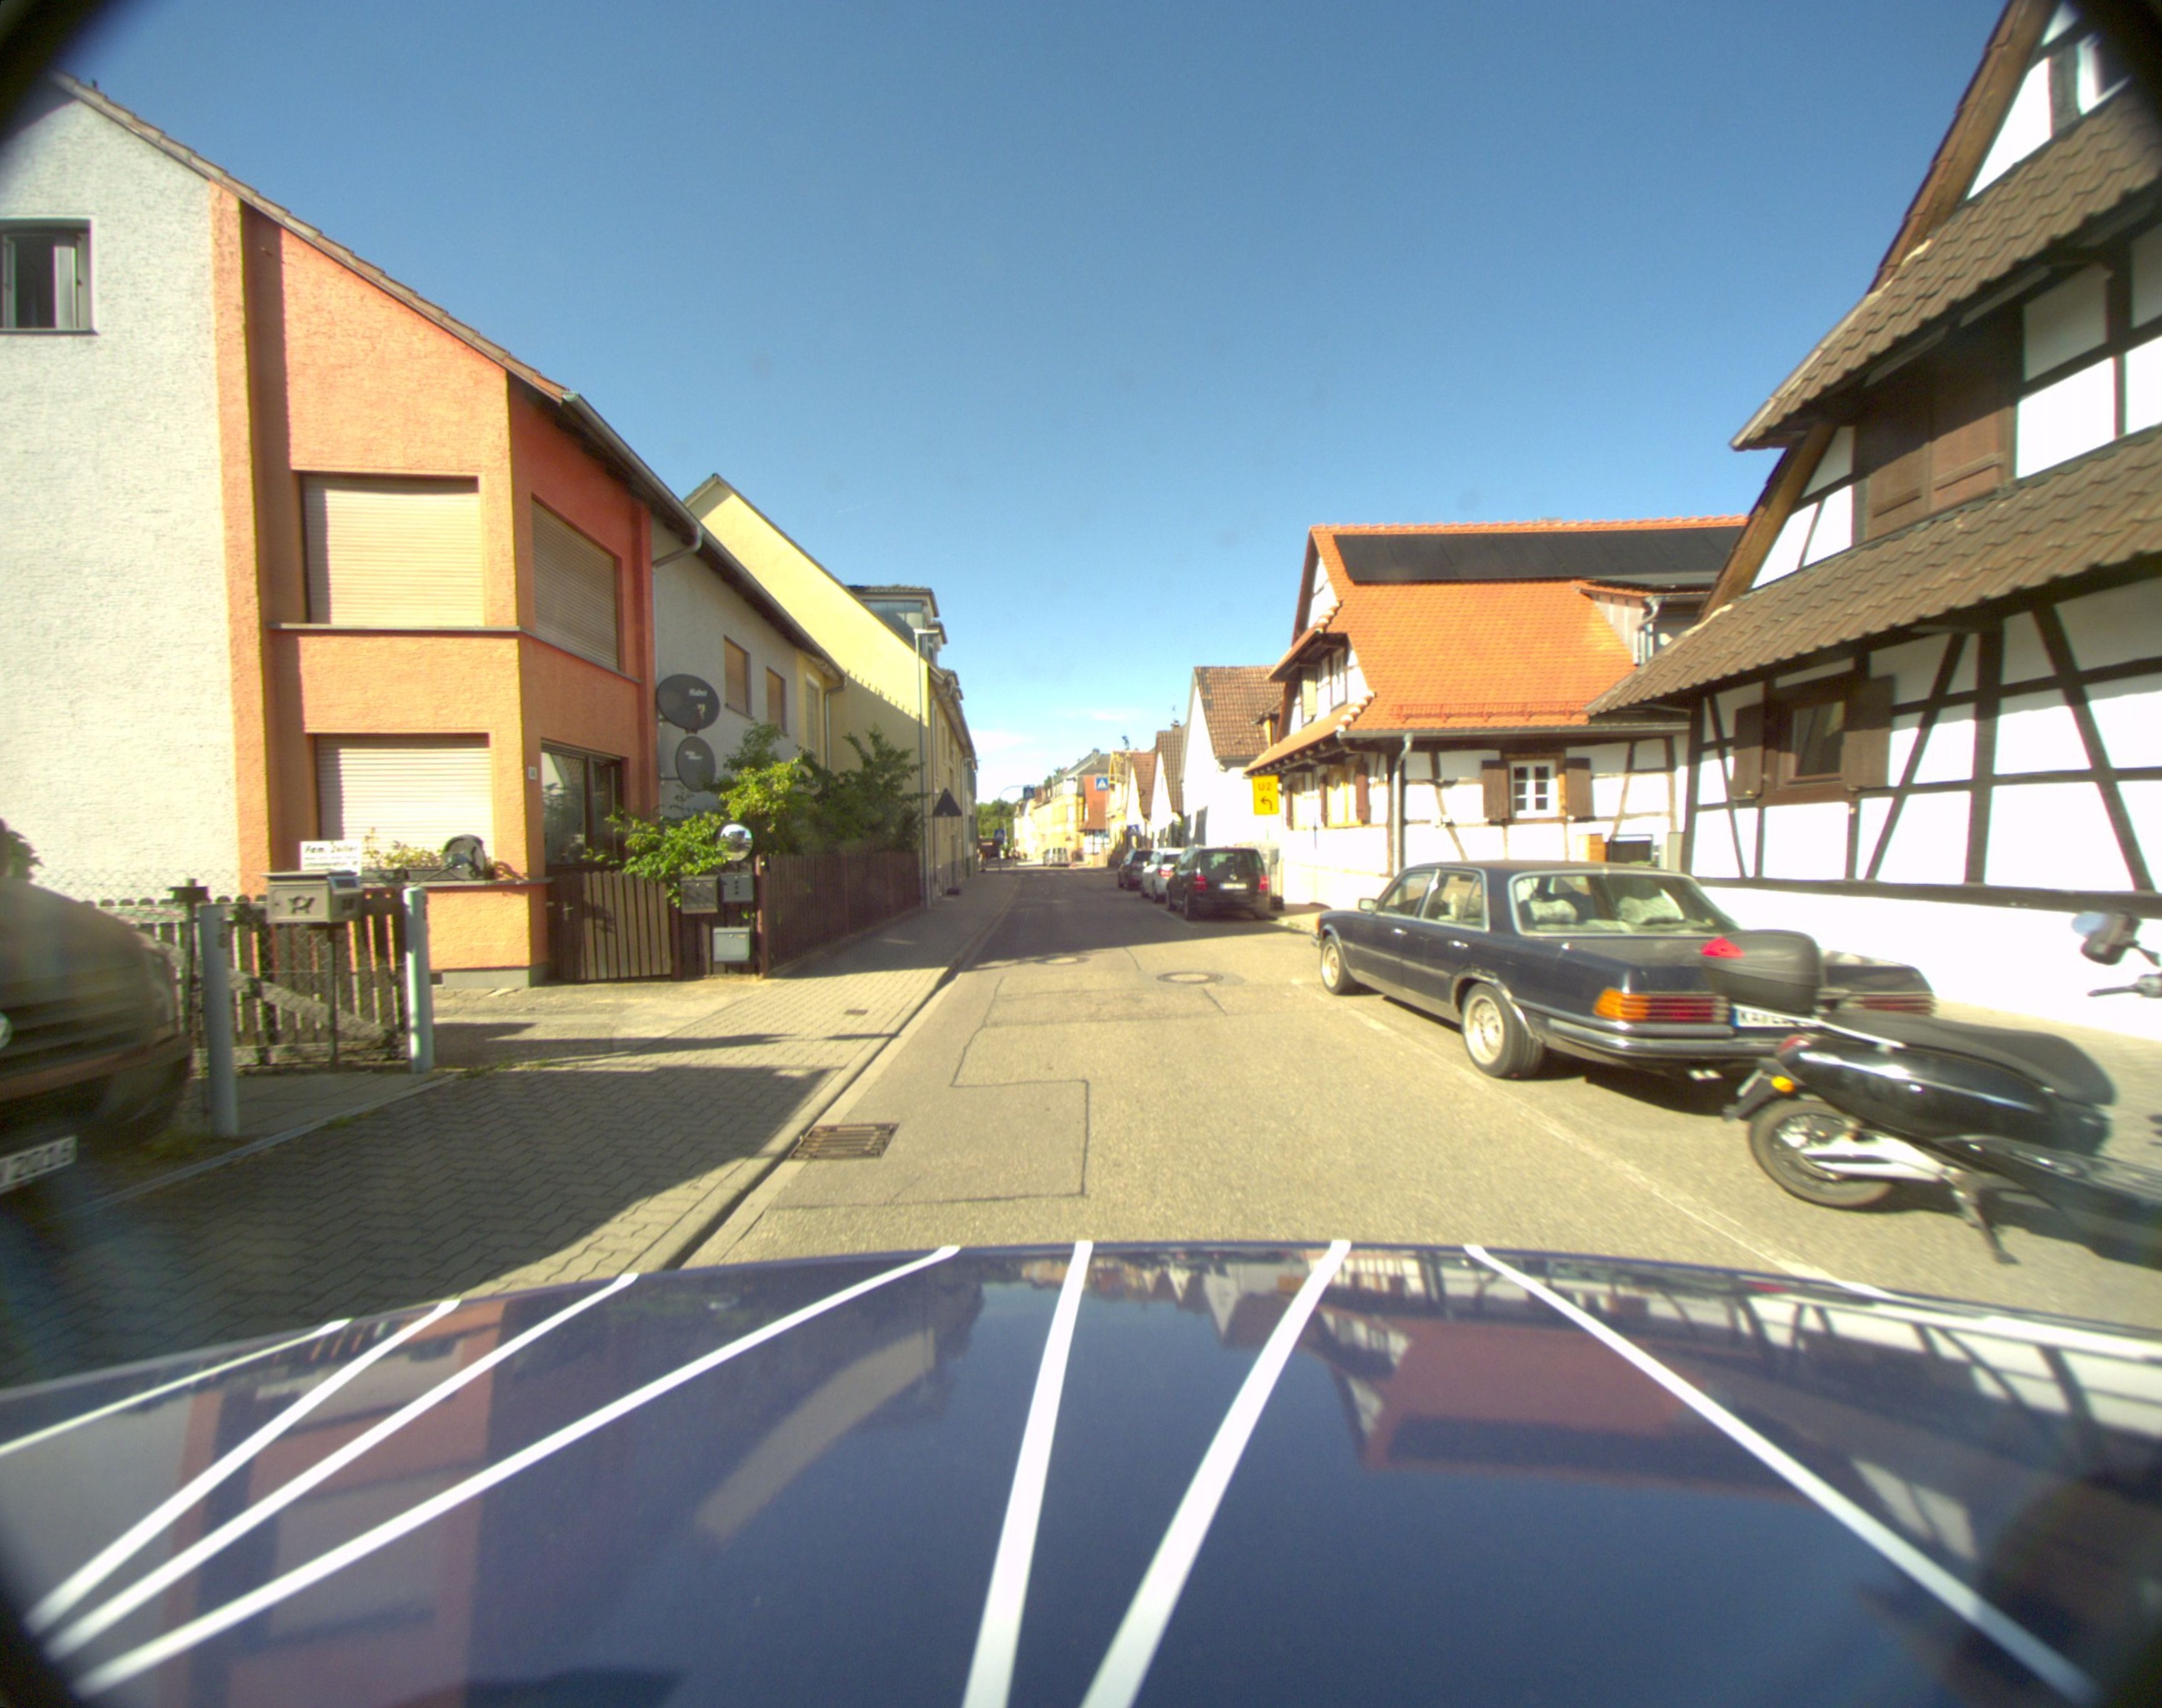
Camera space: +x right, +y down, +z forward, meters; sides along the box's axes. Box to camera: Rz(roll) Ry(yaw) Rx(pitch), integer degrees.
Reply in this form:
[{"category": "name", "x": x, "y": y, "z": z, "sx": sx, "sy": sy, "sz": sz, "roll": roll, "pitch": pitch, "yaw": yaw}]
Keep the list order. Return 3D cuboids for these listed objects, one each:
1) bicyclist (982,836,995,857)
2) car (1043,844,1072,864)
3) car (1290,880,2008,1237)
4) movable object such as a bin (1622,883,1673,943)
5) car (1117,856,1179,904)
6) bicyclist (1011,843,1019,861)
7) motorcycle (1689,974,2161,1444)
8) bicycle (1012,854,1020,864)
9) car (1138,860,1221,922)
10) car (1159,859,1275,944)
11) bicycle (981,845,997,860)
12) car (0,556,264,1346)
[{"category": "bicyclist", "x": -10.349, "y": -0.849, "z": 84.958, "sx": 1.258, "sy": 2.295, "sz": 1.241, "roll": -4, "pitch": 2, "yaw": -13}, {"category": "car", "x": -2.311, "y": -0.023, "z": 73.091, "sx": 1.882, "sy": 1.870, "sz": 4.829, "roll": 0, "pitch": 1, "yaw": -12}, {"category": "car", "x": 3.355, "y": 1.039, "z": 6.069, "sx": 1.849, "sy": 1.398, "sz": 5.034, "roll": 0, "pitch": 1, "yaw": -2}, {"category": "movable object such as a bin", "x": 9.520, "y": 0.985, "z": 12.780, "sx": 0.472, "sy": 0.938, "sz": 0.524, "roll": -2, "pitch": 2, "yaw": 2}, {"category": "car", "x": 2.525, "y": 0.952, "z": 29.557, "sx": 1.747, "sy": 1.605, "sz": 3.997, "roll": -1, "pitch": 1, "yaw": -4}, {"category": "bicyclist", "x": -5.943, "y": -0.202, "z": 68.568, "sx": 0.610, "sy": 1.525, "sz": 0.654, "roll": -4, "pitch": 2, "yaw": -8}, {"category": "motorcycle", "x": 3.367, "y": 1.158, "z": 2.582, "sx": 1.989, "sy": 1.224, "sz": 0.628, "roll": 0, "pitch": 1, "yaw": 43}, {"category": "bicycle", "x": -5.882, "y": 0.455, "z": 68.497, "sx": 0.624, "sy": 0.774, "sz": 1.911, "roll": -4, "pitch": 2, "yaw": -7}, {"category": "car", "x": 2.833, "y": 1.031, "z": 22.808, "sx": 1.821, "sy": 1.558, "sz": 4.166, "roll": -1, "pitch": 1, "yaw": -2}, {"category": "car", "x": 2.987, "y": 0.978, "z": 17.633, "sx": 1.788, "sy": 1.595, "sz": 4.359, "roll": -1, "pitch": 1, "yaw": -2}, {"category": "bicycle", "x": -10.304, "y": -0.147, "z": 84.913, "sx": 1.258, "sy": 1.543, "sz": 3.995, "roll": -4, "pitch": 2, "yaw": -13}, {"category": "car", "x": -6.496, "y": 0.312, "z": 2.130, "sx": 5.821, "sy": 2.640, "sz": 1.966, "roll": 0, "pitch": 2, "yaw": -6}]
